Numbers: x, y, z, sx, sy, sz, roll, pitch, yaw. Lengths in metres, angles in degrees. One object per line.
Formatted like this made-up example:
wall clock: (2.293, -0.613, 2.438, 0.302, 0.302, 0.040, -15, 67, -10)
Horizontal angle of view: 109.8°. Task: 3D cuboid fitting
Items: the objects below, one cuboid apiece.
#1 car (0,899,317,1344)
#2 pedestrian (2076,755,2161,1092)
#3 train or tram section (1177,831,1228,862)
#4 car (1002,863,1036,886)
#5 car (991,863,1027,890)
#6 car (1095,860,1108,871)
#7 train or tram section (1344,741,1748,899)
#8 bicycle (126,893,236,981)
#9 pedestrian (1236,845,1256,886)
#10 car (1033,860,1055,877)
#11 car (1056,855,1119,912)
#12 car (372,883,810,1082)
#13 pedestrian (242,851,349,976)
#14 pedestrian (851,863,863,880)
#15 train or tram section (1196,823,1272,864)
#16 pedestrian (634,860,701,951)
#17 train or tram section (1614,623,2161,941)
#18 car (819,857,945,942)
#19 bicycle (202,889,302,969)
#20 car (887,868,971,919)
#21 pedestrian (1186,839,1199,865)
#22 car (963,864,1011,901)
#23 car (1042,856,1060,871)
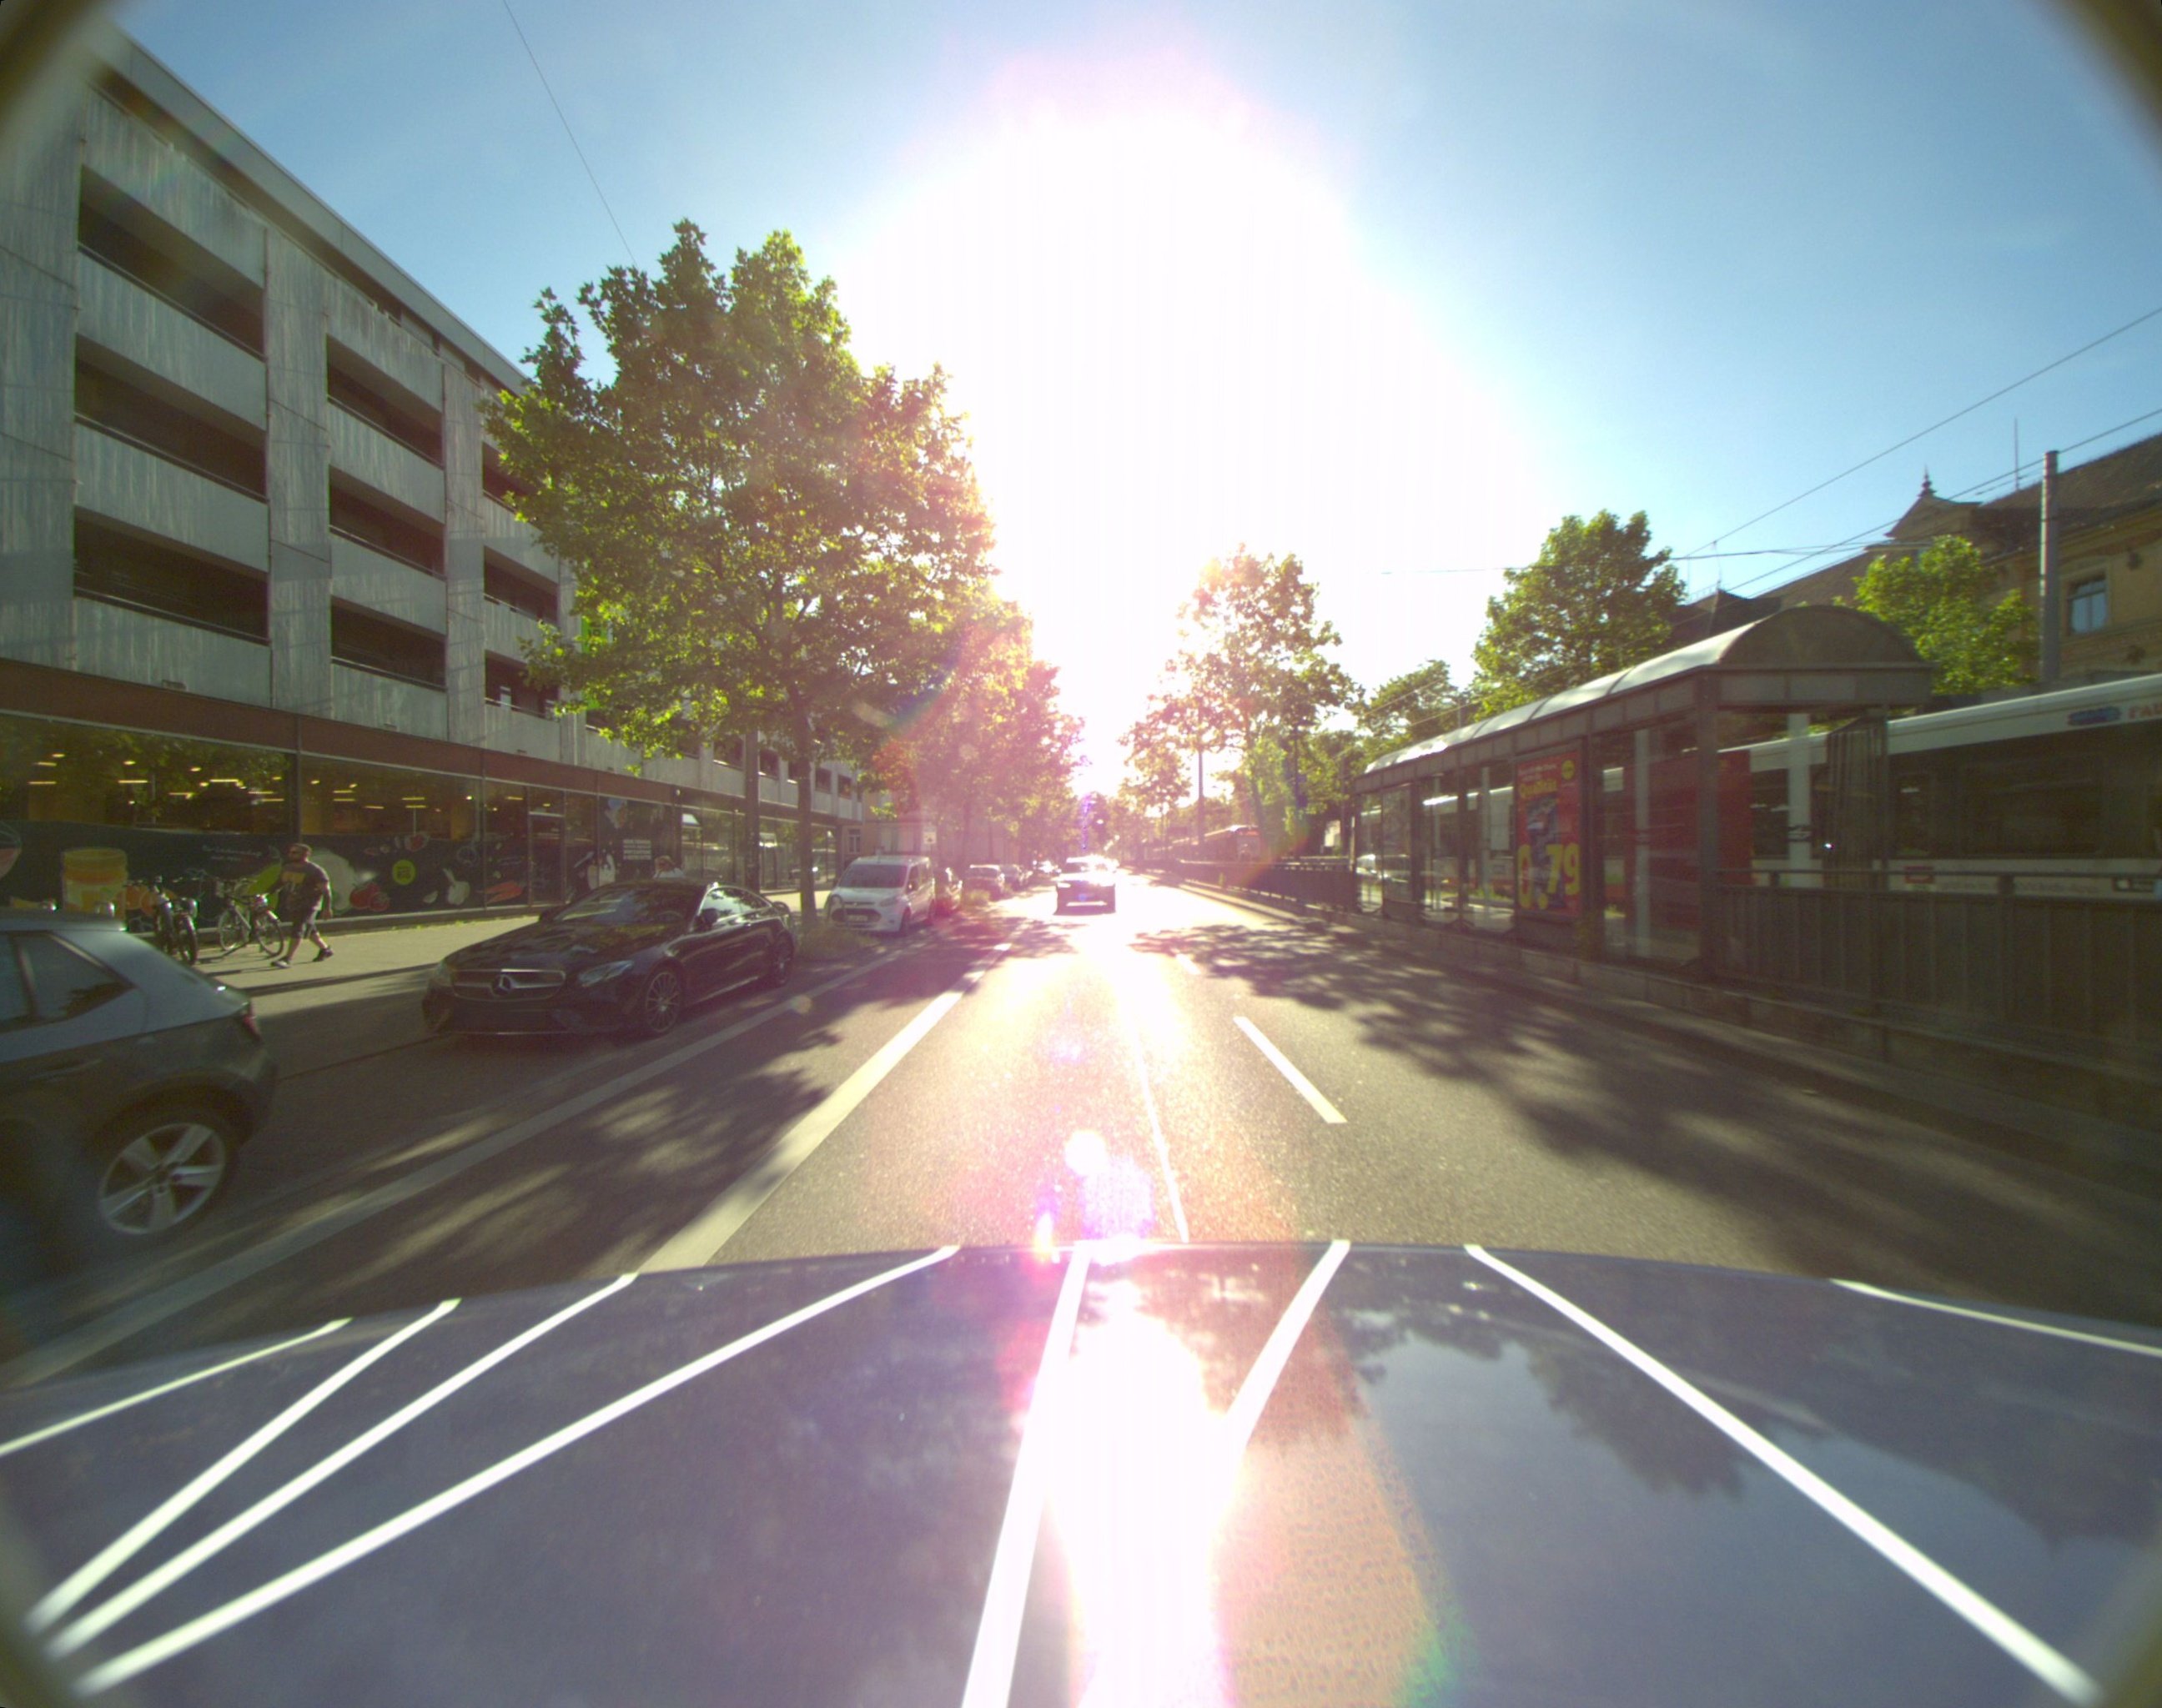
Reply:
car: (-4.713, 1.006, 1.857, 1.568, 1.541, 4.000, -1, 0, 1)
pedestrian: (5.506, 0.330, 3.669, 0.568, 1.630, 0.622, -1, 0, 3)
train or tram section: (10.988, -0.580, 70.330, 2.569, 2.516, 15.074, -1, 0, 1)
car: (-3.970, 1.272, 49.304, 1.781, 1.373, 4.276, -1, 0, 1)
car: (-4.094, 1.240, 43.704, 1.629, 1.433, 3.930, 1, 0, 1)
car: (2.776, 1.524, 102.743, 1.706, 1.407, 3.876, -2, 0, 3)
train or tram section: (13.438, -0.699, 25.932, 2.878, 3.414, 18.277, -2, 0, 1)
bicycle: (-12.376, 1.104, 10.443, 1.700, 1.049, 0.587, 1, -1, 28)
pedestrian: (6.954, 0.469, 31.971, 0.683, 1.700, 0.624, -1, 0, 0)
car: (-3.631, 1.399, 75.214, 1.839, 1.555, 4.274, -1, 0, 1)
car: (0.223, 0.917, 25.658, 1.914, 1.695, 4.273, -1, 0, 1)
car: (-4.733, 1.113, 8.384, 1.766, 1.409, 4.700, 0, 0, 0)
pedestrian: (-11.037, 0.803, 10.705, 0.559, 1.668, 0.882, 2, 0, 0)
pedestrian: (-15.103, 1.192, 51.258, 0.560, 1.103, 0.684, 0, 0, 1)
train or tram section: (10.694, -0.631, 54.955, 2.569, 2.549, 15.676, -1, 0, 1)
pedestrian: (-7.550, 0.916, 13.910, 0.699, 1.603, 0.868, 2, 0, 3)
train or tram section: (13.059, -0.818, 7.642, 2.856, 3.414, 18.216, -2, 0, 1)
car: (-4.600, 0.975, 18.246, 1.768, 1.781, 4.393, 0, 0, 1)
bicycle: (-12.514, 1.098, 11.458, 1.700, 1.049, 0.587, 2, 0, 28)
car: (-4.700, 1.177, 24.080, 1.733, 1.394, 4.295, 1, 0, 0)
pedestrian: (7.185, -0.122, 48.925, 0.700, 1.626, 0.761, -1, 0, 1)
car: (-4.133, 1.219, 33.873, 1.677, 1.430, 3.690, 2, 1, 0)
car: (-3.330, 1.032, 84.881, 1.839, 1.666, 4.274, -1, 0, 1)
